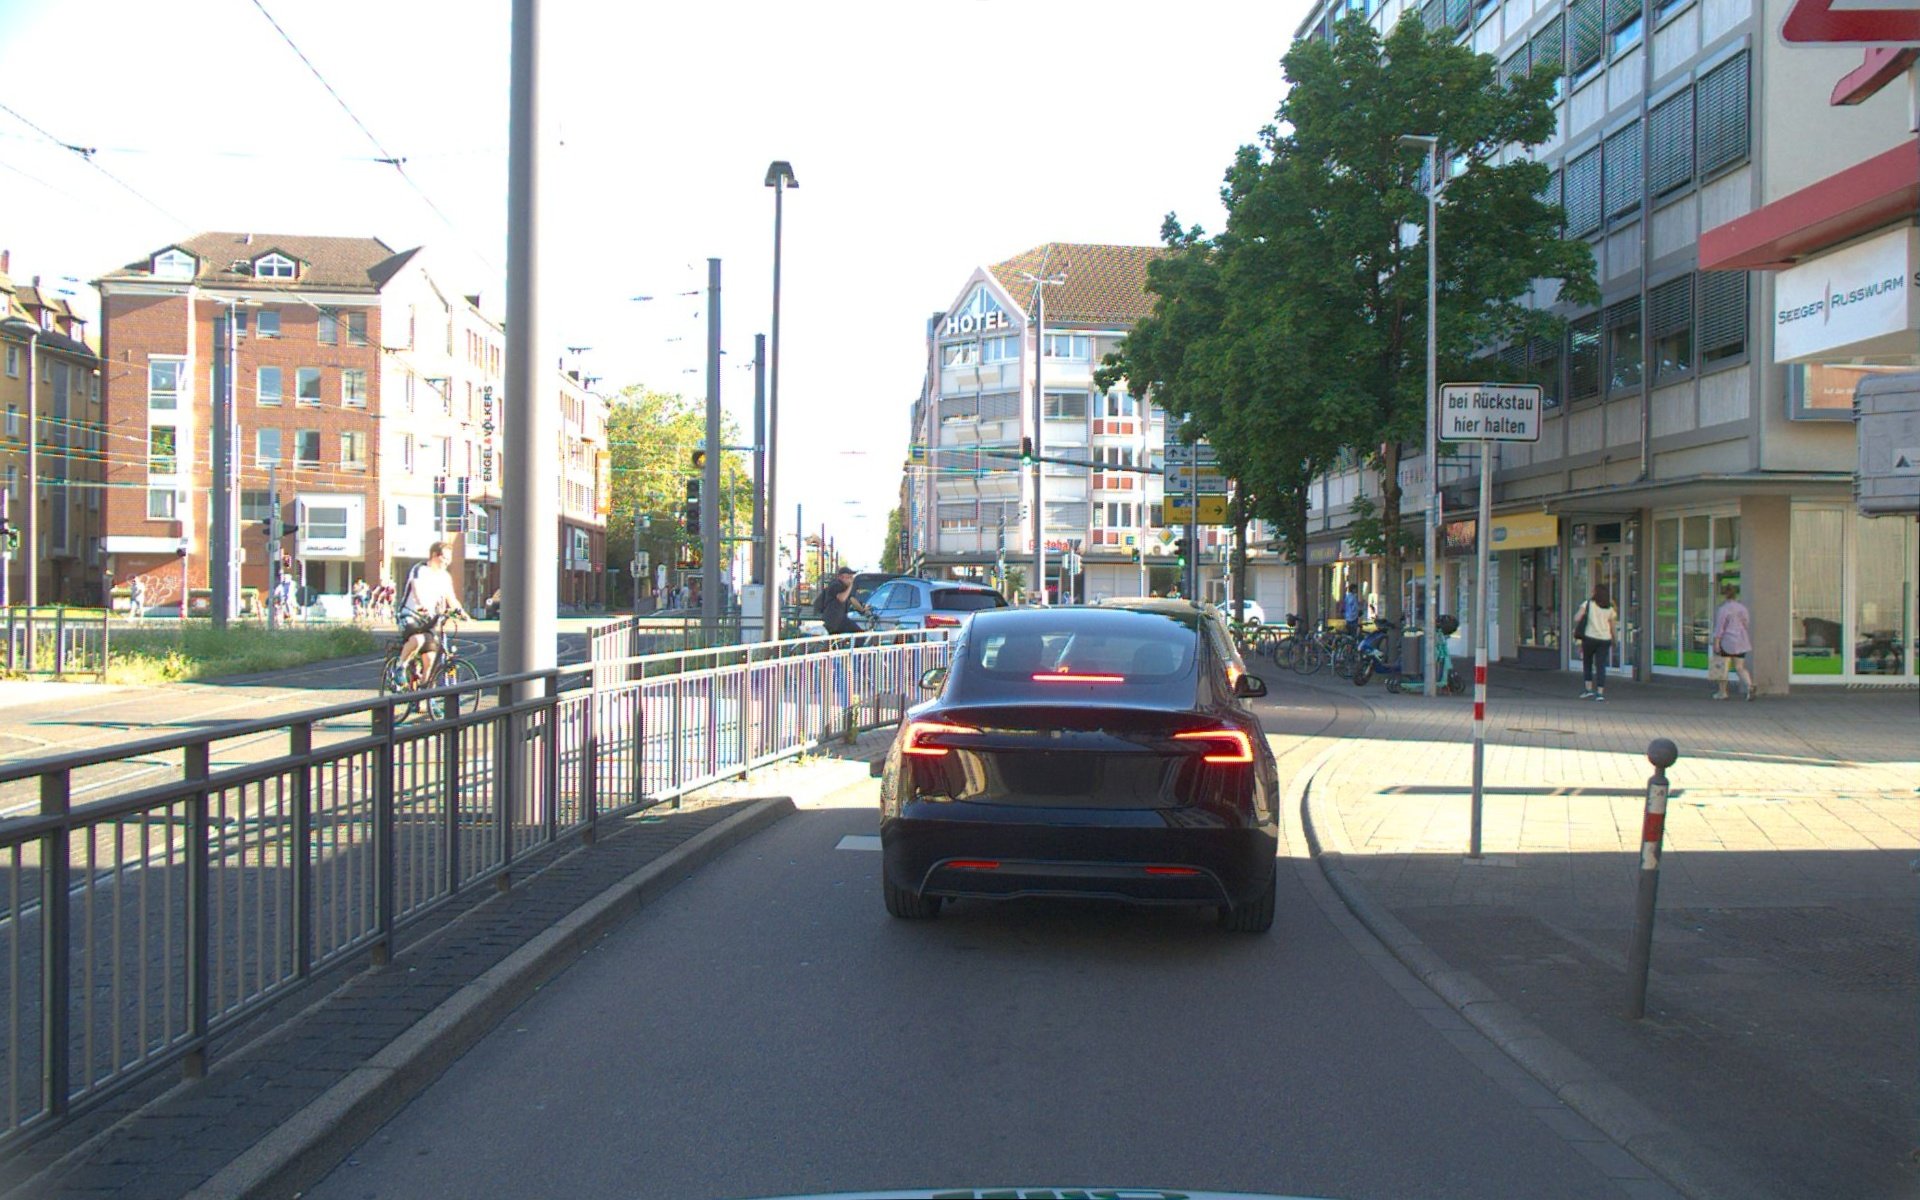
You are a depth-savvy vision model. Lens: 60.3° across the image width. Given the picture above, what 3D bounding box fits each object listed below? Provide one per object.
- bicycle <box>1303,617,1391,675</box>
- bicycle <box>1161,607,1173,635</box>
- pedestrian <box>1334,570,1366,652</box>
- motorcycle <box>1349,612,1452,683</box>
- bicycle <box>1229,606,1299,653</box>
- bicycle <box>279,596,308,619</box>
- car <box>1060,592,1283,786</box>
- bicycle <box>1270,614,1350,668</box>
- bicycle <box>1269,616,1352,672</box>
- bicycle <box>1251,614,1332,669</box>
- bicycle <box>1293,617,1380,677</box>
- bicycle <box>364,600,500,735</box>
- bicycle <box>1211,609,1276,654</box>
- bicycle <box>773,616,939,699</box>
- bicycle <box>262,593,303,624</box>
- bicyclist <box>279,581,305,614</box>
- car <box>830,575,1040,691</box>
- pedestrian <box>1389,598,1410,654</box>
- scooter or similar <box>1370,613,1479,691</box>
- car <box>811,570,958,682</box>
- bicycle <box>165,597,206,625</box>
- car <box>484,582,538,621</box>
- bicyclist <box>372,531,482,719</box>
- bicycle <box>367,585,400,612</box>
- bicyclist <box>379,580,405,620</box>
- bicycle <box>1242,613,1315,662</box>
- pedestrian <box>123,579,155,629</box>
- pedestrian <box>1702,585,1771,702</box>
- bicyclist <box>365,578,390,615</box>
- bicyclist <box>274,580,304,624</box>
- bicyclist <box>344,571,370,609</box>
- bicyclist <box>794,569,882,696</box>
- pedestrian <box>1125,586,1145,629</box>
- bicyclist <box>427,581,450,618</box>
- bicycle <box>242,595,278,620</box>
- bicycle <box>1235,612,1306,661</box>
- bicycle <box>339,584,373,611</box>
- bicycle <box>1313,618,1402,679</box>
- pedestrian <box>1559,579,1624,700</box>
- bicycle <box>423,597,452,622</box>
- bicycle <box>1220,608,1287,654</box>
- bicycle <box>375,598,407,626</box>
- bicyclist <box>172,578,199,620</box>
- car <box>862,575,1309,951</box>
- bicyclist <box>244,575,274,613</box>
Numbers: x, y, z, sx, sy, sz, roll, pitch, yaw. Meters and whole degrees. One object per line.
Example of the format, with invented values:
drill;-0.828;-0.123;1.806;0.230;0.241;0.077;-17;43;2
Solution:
bicycle;7.382;0.884;31.534;1.620;1.079;0.349;1;-1;-11
bicycle;8.096;0.820;64.658;0.325;1.052;1.257;1;0;2
pedestrian;9.829;0.285;41.718;0.648;2.049;0.579;1;-1;1
motorcycle;7.807;0.840;29.356;1.673;1.194;0.541;1;-1;-3
bicycle;7.427;0.727;40.429;1.616;1.118;0.350;1;-1;1
bicycle;-29.706;0.331;73.741;0.396;0.998;1.695;1;0;7
car;1.850;0.684;14.958;1.714;1.480;4.003;1;0;6
bicycle;7.497;0.874;35.436;1.616;1.118;0.350;1;-1;1
bicycle;7.094;0.887;33.481;1.620;1.118;0.349;1;-1;-11
bicycle;6.882;0.862;34.319;1.620;1.118;0.349;1;-1;-11
bicycle;7.277;0.910;31.956;1.620;1.118;0.349;1;-1;-11
bicycle;-5.197;0.630;16.230;0.482;1.244;1.824;1;-1;-45
bicycle;7.291;0.801;42.565;1.616;1.118;0.350;1;-1;1
bicycle;-1.382;0.763;22.462;2.313;1.072;0.622;1;-1;-39
bicycle;-24.829;0.318;60.632;0.526;1.107;2.225;1;0;1
bicyclist;-29.726;-0.112;73.629;0.689;1.496;0.973;0;0;7
car;-0.500;0.493;26.530;1.859;1.691;4.125;1;0;-25
pedestrian;10.876;0.644;40.923;0.381;1.367;0.513;1;-1;1
scooter or similar;7.661;0.839;27.280;1.610;1.236;0.644;1;-1;30
car;-1.550;0.487;32.581;1.962;2.049;3.981;0;0;-17
bicycle;-28.273;0.385;60.401;0.437;0.988;2.246;1;0;-1
car;-21.243;0.067;78.317;1.663;1.762;3.704;1;0;-3
bicyclist;-5.251;0.242;16.308;0.740;1.790;0.753;0;-1;44
bicycle;-24.908;-0.054;71.511;0.518;1.107;2.284;1;0;2
bicyclist;-23.114;-0.009;67.298;0.767;1.590;0.746;0;0;1
bicycle;7.381;0.866;38.386;1.616;1.118;0.350;1;-1;1
pedestrian;-30.900;0.165;62.236;0.767;1.852;0.746;1;-1;1
pedestrian;11.537;0.638;24.596;0.871;1.696;0.808;1;-1;23
bicyclist;-24.997;-0.138;70.959;0.767;1.590;0.746;0;0;1
bicyclist;-24.777;0.083;61.054;0.767;1.590;0.746;1;-1;1
bicyclist;-24.943;-0.418;68.405;0.767;1.590;0.746;0;0;1
bicyclist;-1.645;0.429;22.219;0.753;1.657;0.964;1;-1;-39
pedestrian;6.910;0.306;65.441;0.685;1.691;0.777;1;-1;-1
bicyclist;-22.984;-0.013;72.893;0.767;1.590;0.746;1;-1;1
bicycle;-28.528;0.321;67.406;0.513;0.988;2.246;1;0;-1
bicycle;7.397;0.867;39.414;1.616;1.118;0.350;1;-1;1
bicycle;-24.948;-0.094;68.359;0.518;1.107;2.284;0;0;1
bicycle;7.478;0.909;31.114;1.620;1.118;0.349;1;-1;-11
pedestrian;9.587;0.581;25.096;0.895;1.783;1.038;0;0;22
bicycle;-22.992;0.422;72.821;0.518;1.107;2.225;1;0;1
bicycle;7.361;0.776;41.473;1.616;1.118;0.350;0;0;1
bicycle;-23.161;0.481;67.344;0.518;1.107;2.225;0;0;1
bicyclist;-28.270;-0.033;60.393;0.620;1.529;0.696;1;-1;-1
car;0.646;0.666;8.712;1.791;1.481;4.002;1;0;4
bicyclist;-28.513;-0.230;67.269;0.880;1.529;0.696;1;-1;-1
